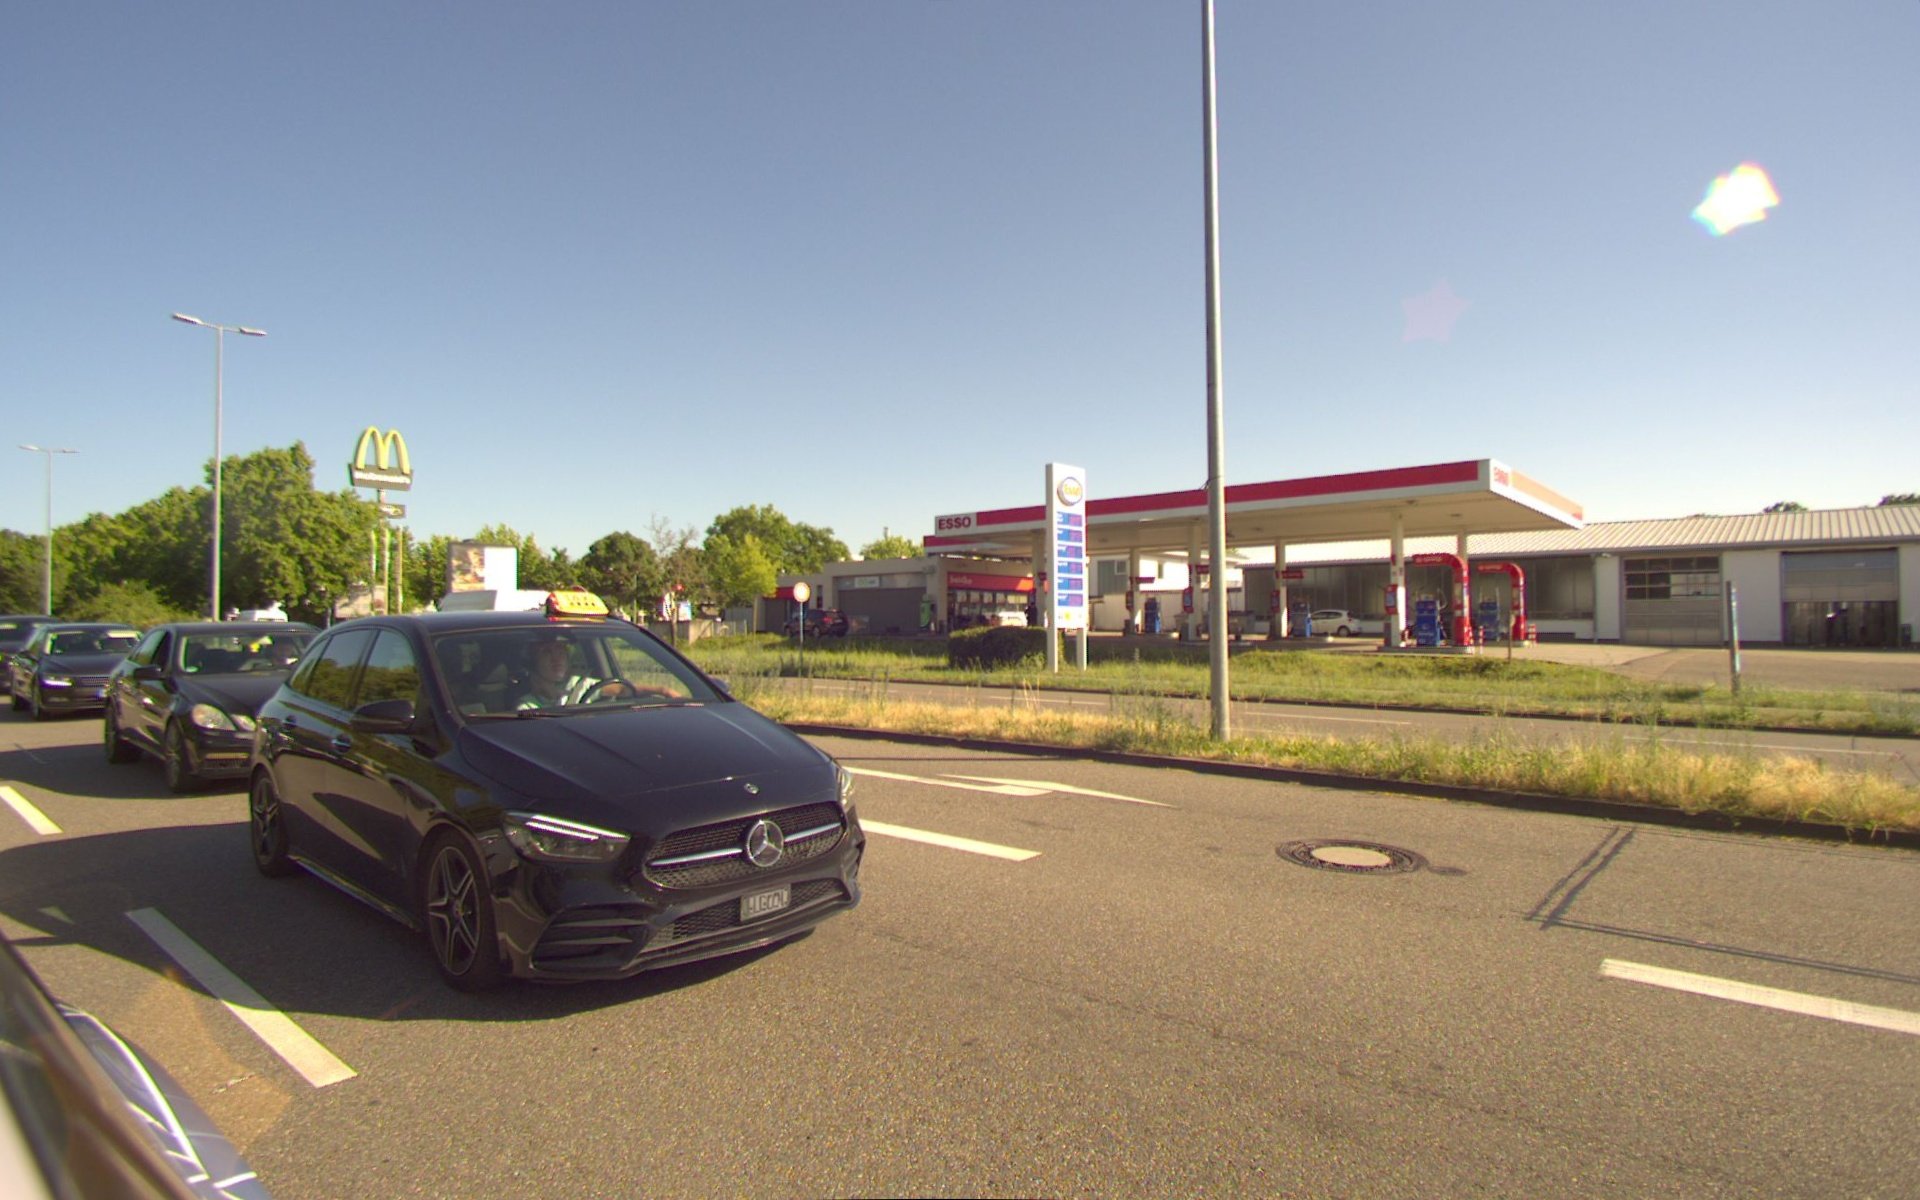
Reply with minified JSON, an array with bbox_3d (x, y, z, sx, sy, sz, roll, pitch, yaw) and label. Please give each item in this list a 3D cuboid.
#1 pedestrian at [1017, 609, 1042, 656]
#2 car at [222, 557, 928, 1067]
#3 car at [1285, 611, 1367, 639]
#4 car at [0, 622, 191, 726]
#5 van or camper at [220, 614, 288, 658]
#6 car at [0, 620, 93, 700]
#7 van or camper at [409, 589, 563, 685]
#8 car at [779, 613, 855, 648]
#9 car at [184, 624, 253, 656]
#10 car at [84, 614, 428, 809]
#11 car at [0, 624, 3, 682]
[{"bbox_3d":[3.060,1.427,44.753,0.840,2.029,0.694,-2,-2,41],"label":"pedestrian"},{"bbox_3d":[-2.292,0.736,5.343,4.187,1.638,1.780,-2,-2,42],"label":"car"},{"bbox_3d":[19.840,1.352,54.874,3.844,1.450,1.730,-2,-2,39],"label":"car"},{"bbox_3d":[-14.434,1.133,16.778,4.401,1.492,1.838,-2,-2,41],"label":"car"},{"bbox_3d":[-44.394,2.255,63.600,5.952,2.671,1.973,-1,-4,40],"label":"van or camper"},{"bbox_3d":[-20.535,1.251,22.090,4.401,1.600,1.838,-2,-2,41],"label":"car"},{"bbox_3d":[-14.489,1.078,30.696,2.152,2.592,6.759,1,-2,-44],"label":"van or camper"},{"bbox_3d":[-7.794,1.648,55.002,4.117,1.783,1.972,-2,-1,43],"label":"car"},{"bbox_3d":[-41.458,2.248,56.566,4.609,1.666,1.973,-2,-4,40],"label":"car"},{"bbox_3d":[-7.208,0.939,10.179,4.401,1.535,1.838,-2,-2,41],"label":"car"},{"bbox_3d":[-28.794,1.496,28.811,4.401,1.600,1.838,-2,-2,41],"label":"car"}]
